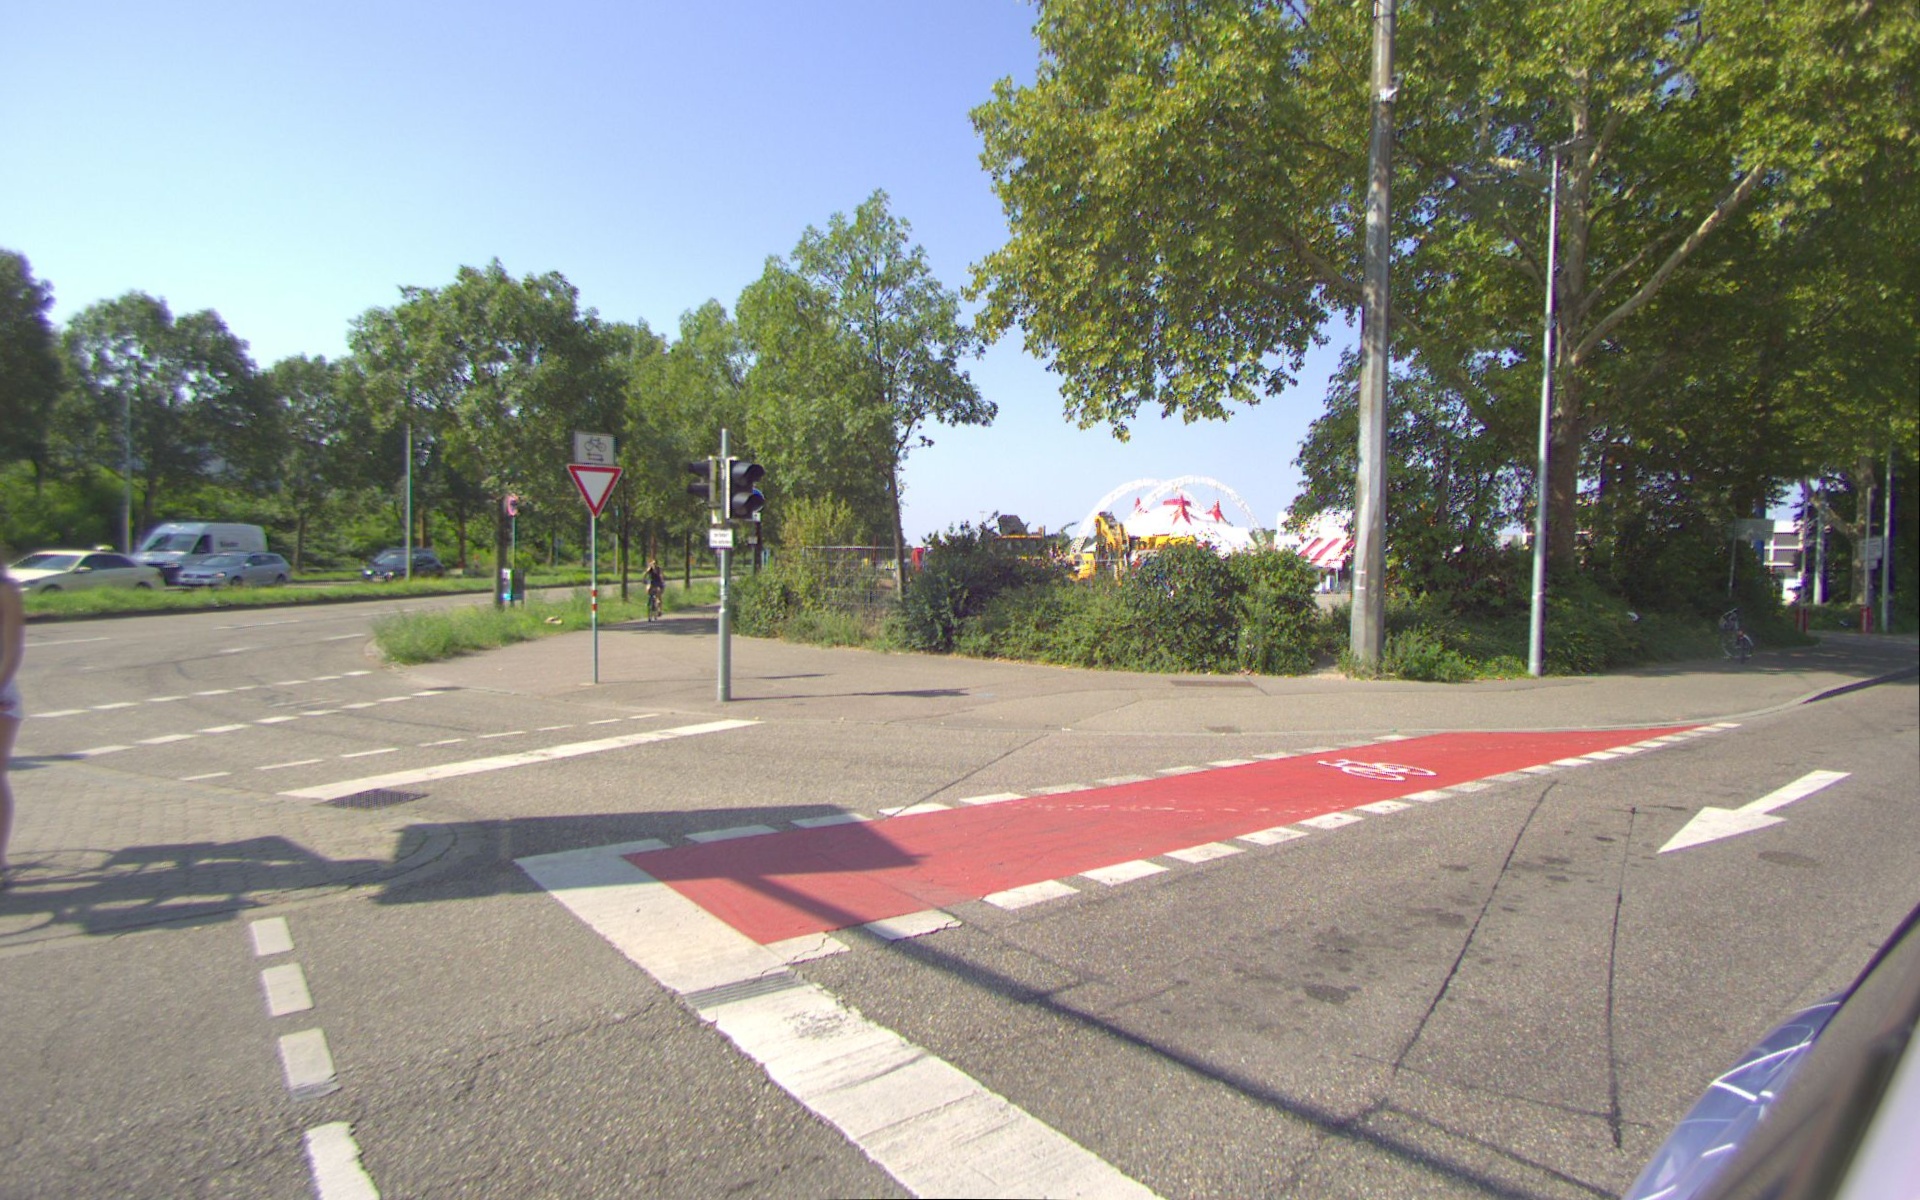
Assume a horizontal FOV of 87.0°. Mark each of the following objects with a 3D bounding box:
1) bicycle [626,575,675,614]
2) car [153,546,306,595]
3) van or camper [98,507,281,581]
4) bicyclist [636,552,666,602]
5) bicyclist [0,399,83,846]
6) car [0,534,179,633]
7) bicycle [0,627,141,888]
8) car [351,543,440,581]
[{"bbox_3d":[-8.686,-0.149,28.466,0.565,1.069,1.485,-1,-1,18],"label":"bicycle"},{"bbox_3d":[-26.445,-1.021,36.897,2.125,1.629,4.976,-1,0,-2],"label":"car"},{"bbox_3d":[-29.600,-2.056,39.279,2.205,2.514,6.870,-1,0,-4],"label":"van or camper"},{"bbox_3d":[-8.689,-0.639,28.502,0.496,1.382,0.692,-1,0,19],"label":"bicyclist"},{"bbox_3d":[-4.713,0.101,4.674,0.585,2.039,1.207,-1,0,-20],"label":"bicyclist"},{"bbox_3d":[-23.130,-0.377,25.988,2.206,2.290,5.225,-1,0,-2],"label":"car"},{"bbox_3d":[-4.772,0.728,4.747,0.756,1.101,2.268,0,1,-20],"label":"bicycle"},{"bbox_3d":[-23.381,-1.550,42.048,1.625,1.416,3.755,-1,0,-1],"label":"car"}]
